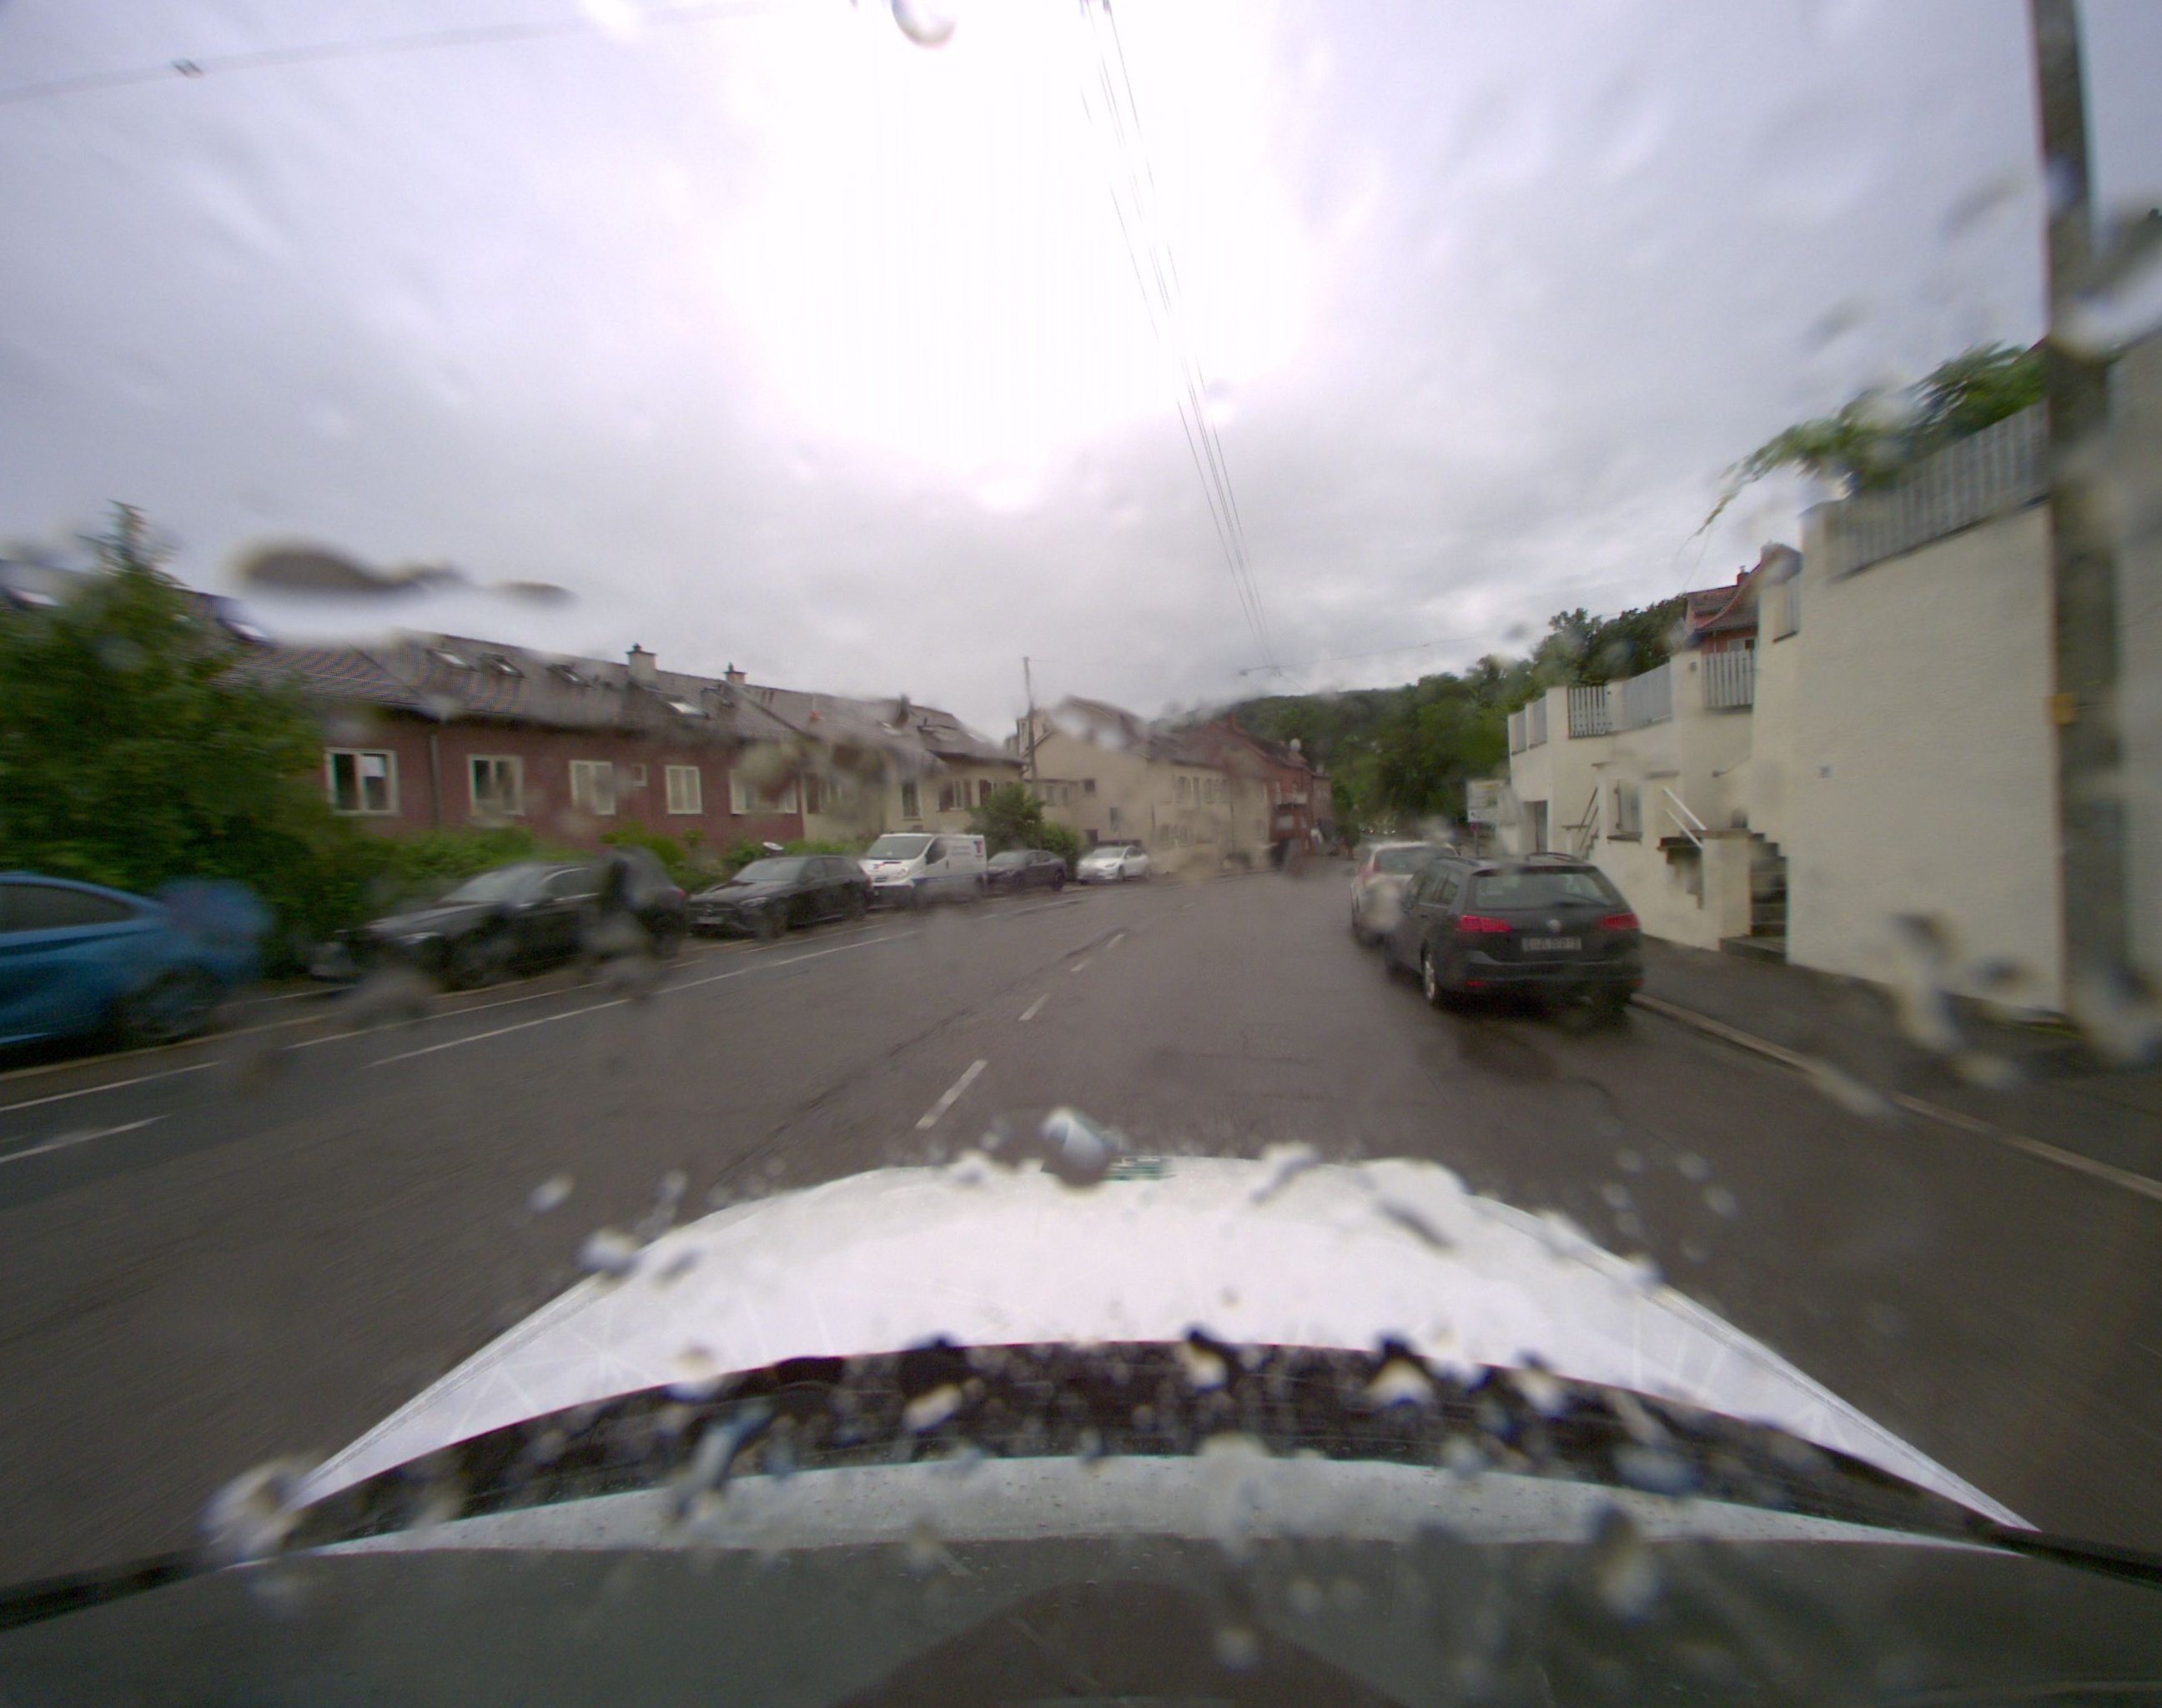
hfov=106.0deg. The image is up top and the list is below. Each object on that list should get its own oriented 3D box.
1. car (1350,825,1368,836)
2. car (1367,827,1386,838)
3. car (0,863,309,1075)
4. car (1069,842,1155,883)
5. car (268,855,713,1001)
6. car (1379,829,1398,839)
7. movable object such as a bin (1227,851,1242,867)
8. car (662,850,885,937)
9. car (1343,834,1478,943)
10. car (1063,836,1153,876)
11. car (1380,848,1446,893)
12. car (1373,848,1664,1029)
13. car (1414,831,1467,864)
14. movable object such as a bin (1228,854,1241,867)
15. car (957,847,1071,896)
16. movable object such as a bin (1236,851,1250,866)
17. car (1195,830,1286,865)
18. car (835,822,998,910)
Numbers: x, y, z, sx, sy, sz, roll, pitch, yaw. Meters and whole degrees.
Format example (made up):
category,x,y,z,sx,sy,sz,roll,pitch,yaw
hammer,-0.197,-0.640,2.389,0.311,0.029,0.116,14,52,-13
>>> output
category,x,y,z,sx,sy,sz,roll,pitch,yaw
car,51.352,-4.334,150.341,1.737,1.549,3.999,-6,5,-2
car,52.031,-3.760,143.435,1.735,1.549,4.003,-5,4,1
car,-8.277,0.817,5.381,1.689,1.405,4.483,0,1,8
car,1.419,0.335,34.759,1.911,1.631,4.705,-1,0,26
car,-7.273,0.771,10.747,1.794,1.476,4.543,-1,0,18
car,51.806,-3.364,137.235,1.733,1.550,4.006,-5,2,5
movable object such as a bin,10.442,0.334,55.504,0.774,1.047,0.713,-1,0,30
car,-5.840,0.671,16.189,1.795,1.476,4.540,-1,0,15
car,5.692,0.538,14.541,1.789,1.649,4.228,-2,0,16
car,1.491,0.123,44.611,4.446,2.013,1.899,-2,1,26
car,12.095,0.542,29.483,1.772,1.496,4.734,-1,0,27
car,4.379,0.713,8.886,1.667,1.483,4.215,-1,0,12
car,23.702,-0.446,53.609,2.286,1.939,4.353,-1,1,37
movable object such as a bin,10.283,0.416,54.514,0.666,0.859,0.713,-1,0,30
car,-2.120,0.538,27.317,1.792,1.476,4.548,-1,0,25
movable object such as a bin,11.156,0.309,56.041,0.774,1.047,0.743,-1,0,30
car,12.427,-0.452,63.686,6.590,2.554,2.181,-2,-2,30
car,-4.210,0.286,21.817,1.832,2.079,5.047,-1,0,21
